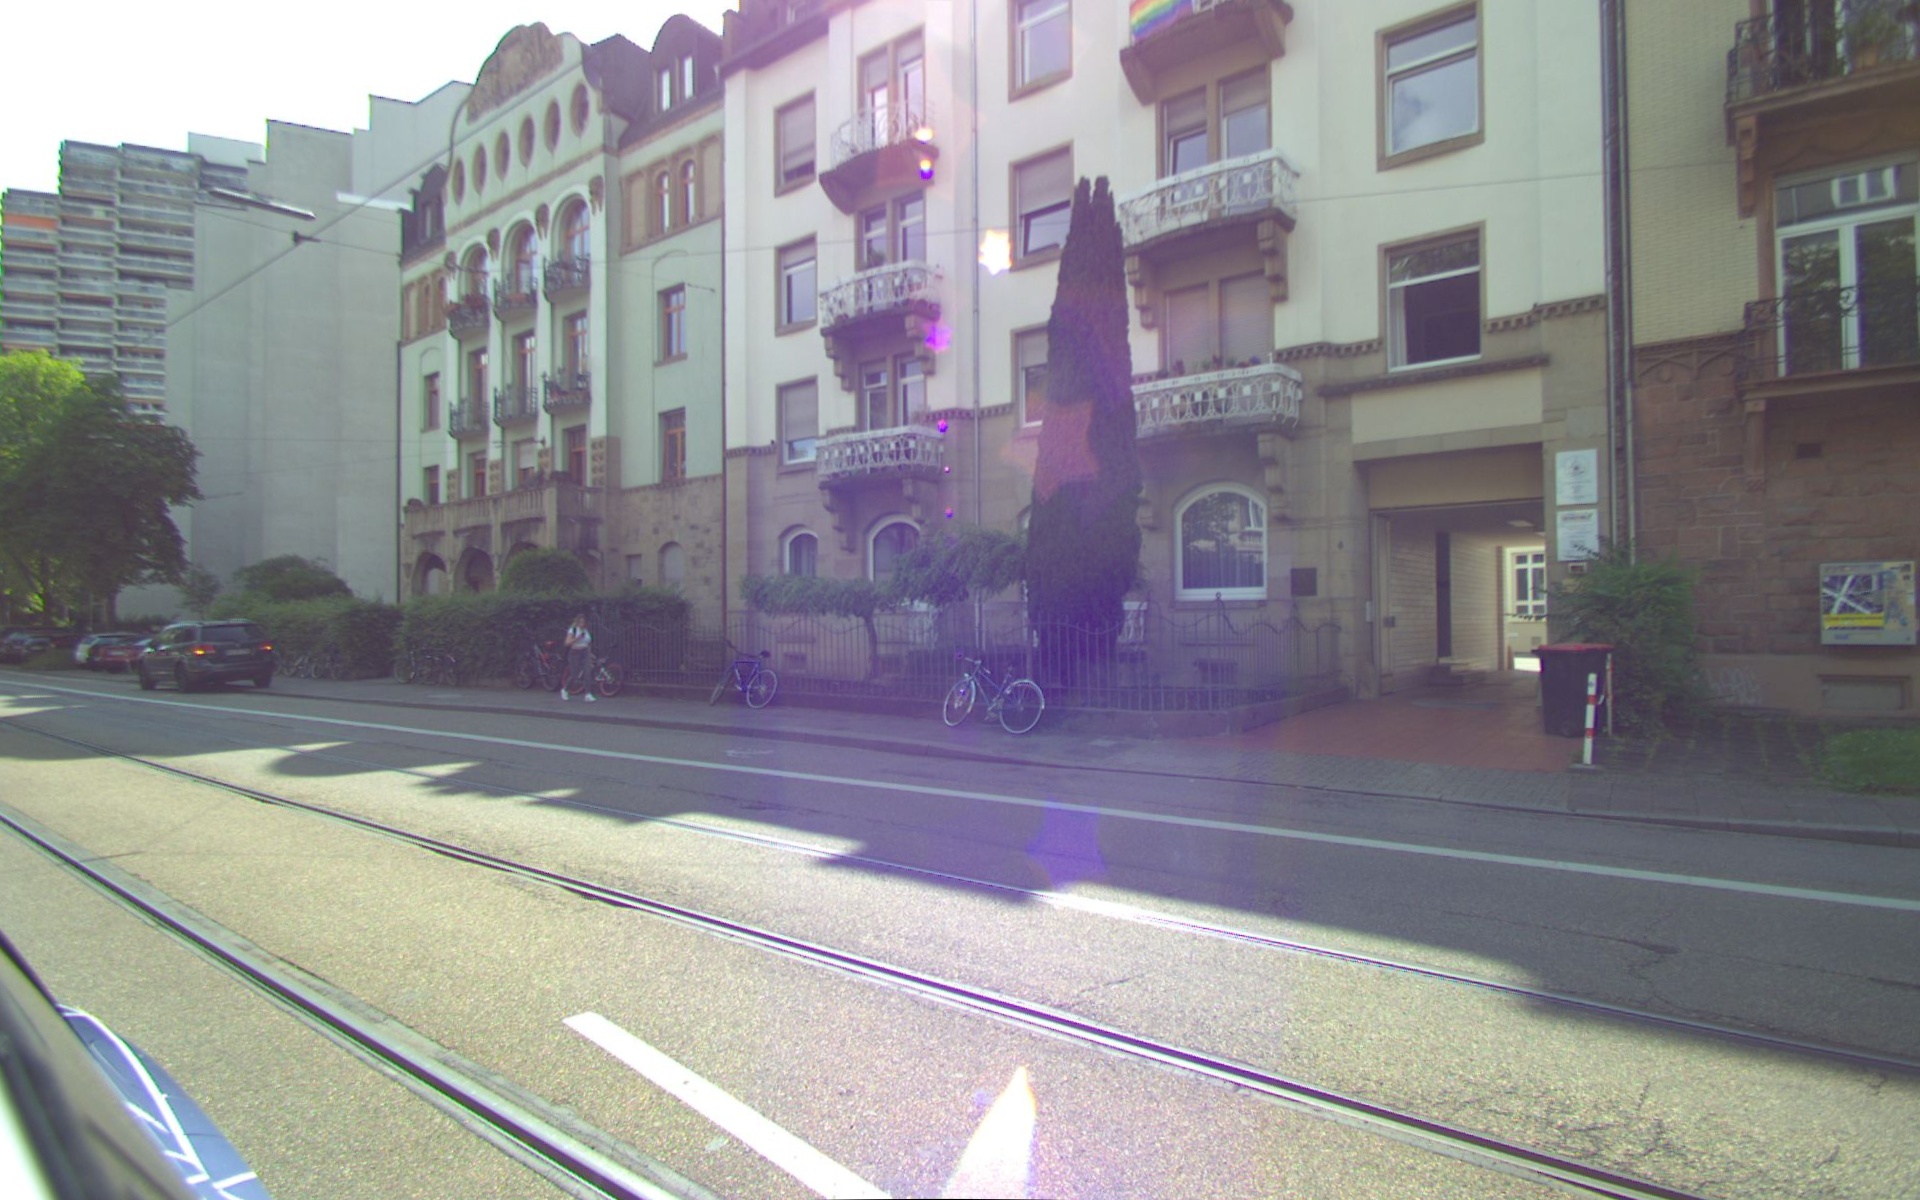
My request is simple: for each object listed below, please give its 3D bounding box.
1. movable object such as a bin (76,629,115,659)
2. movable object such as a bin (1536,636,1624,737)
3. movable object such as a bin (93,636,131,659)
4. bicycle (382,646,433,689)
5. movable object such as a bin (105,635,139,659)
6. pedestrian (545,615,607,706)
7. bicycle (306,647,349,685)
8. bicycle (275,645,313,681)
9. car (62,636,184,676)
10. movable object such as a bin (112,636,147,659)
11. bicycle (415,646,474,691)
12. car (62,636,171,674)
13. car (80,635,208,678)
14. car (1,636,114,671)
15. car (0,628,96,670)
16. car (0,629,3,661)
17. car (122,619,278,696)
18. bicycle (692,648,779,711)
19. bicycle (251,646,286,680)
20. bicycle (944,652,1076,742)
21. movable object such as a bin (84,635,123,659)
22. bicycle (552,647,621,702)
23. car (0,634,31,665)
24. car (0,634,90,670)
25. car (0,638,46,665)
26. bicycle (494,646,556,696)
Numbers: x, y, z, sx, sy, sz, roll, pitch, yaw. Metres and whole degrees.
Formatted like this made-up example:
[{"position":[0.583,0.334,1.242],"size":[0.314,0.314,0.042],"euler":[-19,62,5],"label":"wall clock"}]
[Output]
[{"position":[-54.317,2.762,63.587],"size":[1.535,1.795,1.375],"euler":[-1,-5,34],"label":"movable object such as a bin"},{"position":[7.151,0.980,11.689],"size":[0.587,1.077,0.609],"euler":[-2,1,-18],"label":"movable object such as a bin"},{"position":[-51.580,2.896,61.560],"size":[1.535,1.374,1.375],"euler":[-1,-5,34],"label":"movable object such as a bin"},{"position":[-13.256,1.600,24.262],"size":[1.919,0.966,0.379],"euler":[-2,-1,40],"label":"bicycle"},{"position":[-49.000,2.727,59.178],"size":[1.439,1.337,1.153],"euler":[-1,-5,37],"label":"movable object such as a bin"},{"position":[-6.961,1.085,18.356],"size":[0.881,1.580,0.673],"euler":[-2,0,40],"label":"pedestrian"},{"position":[-16.994,1.768,27.187],"size":[1.919,0.966,0.379],"euler":[-2,-1,40],"label":"bicycle"},{"position":[-18.904,1.780,28.722],"size":[1.808,0.966,0.379],"euler":[-2,-1,40],"label":"bicycle"},{"position":[-32.896,2.210,39.929],"size":[1.673,1.495,3.808],"euler":[1,-3,-2],"label":"car"},{"position":[-47.835,2.730,58.281],"size":[1.439,1.293,1.157],"euler":[-1,-5,37],"label":"movable object such as a bin"},{"position":[-11.699,1.533,22.931],"size":[1.798,0.966,0.447],"euler":[-2,-1,38],"label":"bicycle"},{"position":[-35.097,2.318,42.247],"size":[1.671,1.495,3.813],"euler":[1,-3,-8],"label":"car"},{"position":[-30.499,2.118,37.996],"size":[1.818,1.495,3.974],"euler":[1,-3,-5],"label":"car"},{"position":[-40.889,2.444,46.003],"size":[1.715,1.495,4.004],"euler":[1,-3,-5],"label":"car"},{"position":[-45.861,2.432,50.278],"size":[1.886,1.969,5.177],"euler":[1,-3,-8],"label":"car"},{"position":[-61.236,2.744,61.487],"size":[1.939,2.012,4.690],"euler":[0,-2,-4],"label":"car"},{"position":[-19.198,1.415,25.506],"size":[4.872,1.776,1.769],"euler":[-2,-2,36],"label":"car"},{"position":[-3.690,1.273,16.541],"size":[1.704,0.966,0.422],"euler":[-2,-1,40],"label":"bicycle"},{"position":[-20.529,1.846,30.035],"size":[1.808,0.966,0.379],"euler":[-2,-1,40],"label":"bicycle"},{"position":[0.619,1.214,13.031],"size":[1.816,0.966,0.505],"euler":[1,2,45],"label":"bicycle"},{"position":[-52.917,2.899,62.534],"size":[1.535,1.374,1.375],"euler":[-1,-5,34],"label":"movable object such as a bin"},{"position":[-7.131,1.396,19.272],"size":[1.799,0.983,0.379],"euler":[-2,-1,40],"label":"bicycle"},{"position":[-53.545,2.711,55.638],"size":[1.733,1.706,3.719],"euler":[1,-3,-6],"label":"car"},{"position":[-43.385,2.444,47.592],"size":[1.714,1.605,4.005],"euler":[1,-3,-7],"label":"car"},{"position":[-50.922,2.711,53.604],"size":[1.732,1.428,4.007],"euler":[1,-3,-8],"label":"car"},{"position":[-9.000,1.453,20.908],"size":[1.799,0.966,0.379],"euler":[-2,-1,40],"label":"bicycle"}]
